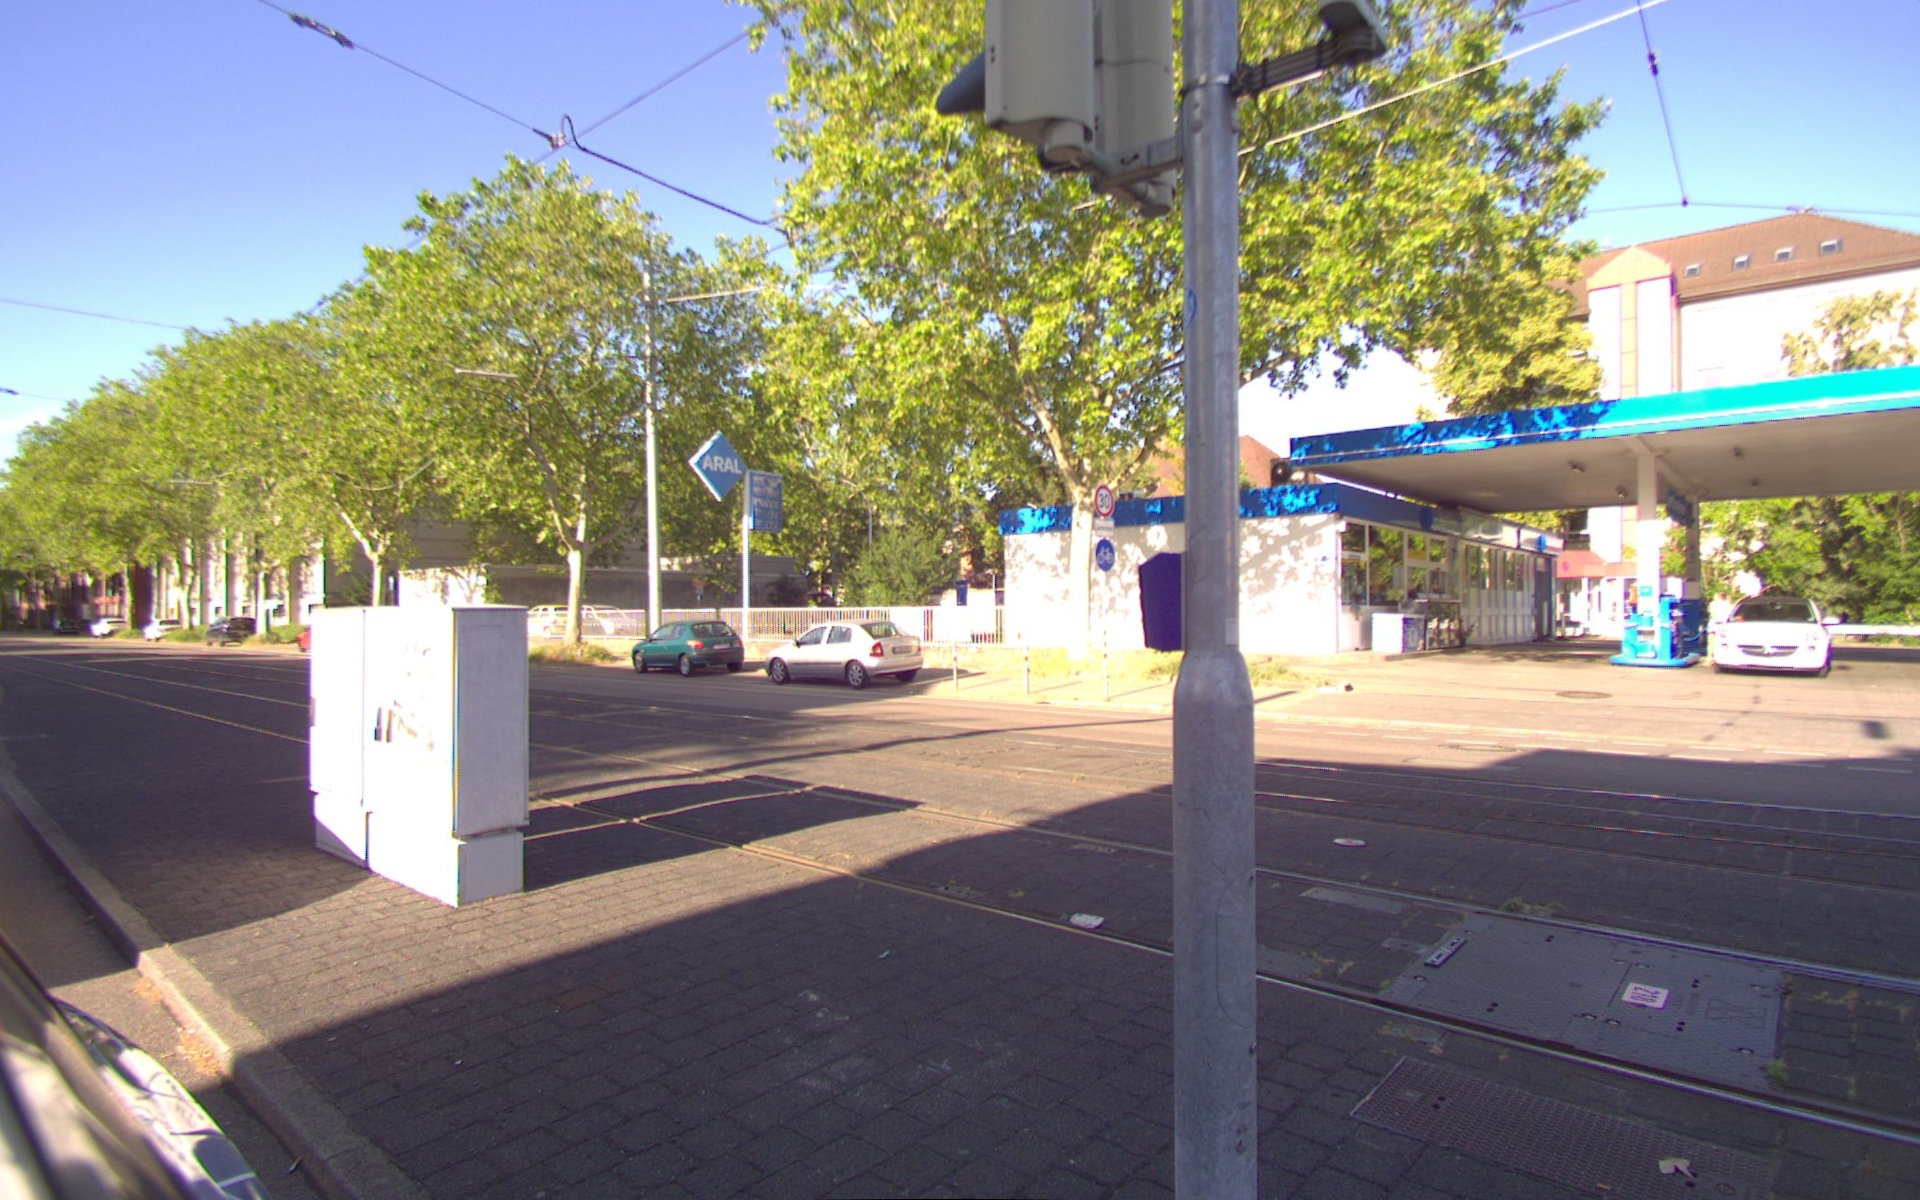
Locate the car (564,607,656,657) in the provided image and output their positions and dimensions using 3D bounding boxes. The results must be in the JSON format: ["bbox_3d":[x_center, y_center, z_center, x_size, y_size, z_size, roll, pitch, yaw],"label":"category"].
[{"bbox_3d":[-15.143,1.363,43.694,3.996,2.029,1.974,-1,-1,39],"label":"car"}]

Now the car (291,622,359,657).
[{"bbox_3d":[-28.910,1.771,46.050,3.858,1.440,1.695,-1,0,43],"label":"car"}]

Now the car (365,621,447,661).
[{"bbox_3d":[-21.983,1.586,40.095,3.858,1.468,1.735,-1,0,43],"label":"car"}]

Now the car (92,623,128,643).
[{"bbox_3d":[-66.922,2.574,79.648,3.858,1.495,1.735,-1,0,43],"label":"car"}]

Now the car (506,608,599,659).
[{"bbox_3d":[-17.042,1.392,42.266,3.996,2.029,1.974,-1,-1,39],"label":"car"}]

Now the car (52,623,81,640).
[{"bbox_3d":[-84.867,3.006,96.124,3.858,1.495,1.735,-1,0,43],"label":"car"}]

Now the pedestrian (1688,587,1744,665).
[{"bbox_3d":[16.142,0.555,21.622,0.808,1.642,0.642,-1,-1,24],"label":"pedestrian"}]

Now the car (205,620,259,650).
[{"bbox_3d":[-40.672,1.952,56.491,3.858,1.557,1.735,-1,0,43],"label":"car"}]

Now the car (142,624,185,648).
[{"bbox_3d":[-53.634,2.395,68.128,3.858,1.495,1.735,-1,0,43],"label":"car"}]

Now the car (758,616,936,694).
[{"bbox_3d":[-2.573,1.166,22.599,3.857,1.497,1.823,-1,1,42],"label":"car"}]

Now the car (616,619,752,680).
[{"bbox_3d":[-7.432,1.273,27.079,3.858,1.408,1.722,-1,1,43],"label":"car"}]

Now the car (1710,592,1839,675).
[{"bbox_3d":[15.941,0.615,19.783,1.793,1.453,3.946,-1,-1,40],"label":"car"}]
